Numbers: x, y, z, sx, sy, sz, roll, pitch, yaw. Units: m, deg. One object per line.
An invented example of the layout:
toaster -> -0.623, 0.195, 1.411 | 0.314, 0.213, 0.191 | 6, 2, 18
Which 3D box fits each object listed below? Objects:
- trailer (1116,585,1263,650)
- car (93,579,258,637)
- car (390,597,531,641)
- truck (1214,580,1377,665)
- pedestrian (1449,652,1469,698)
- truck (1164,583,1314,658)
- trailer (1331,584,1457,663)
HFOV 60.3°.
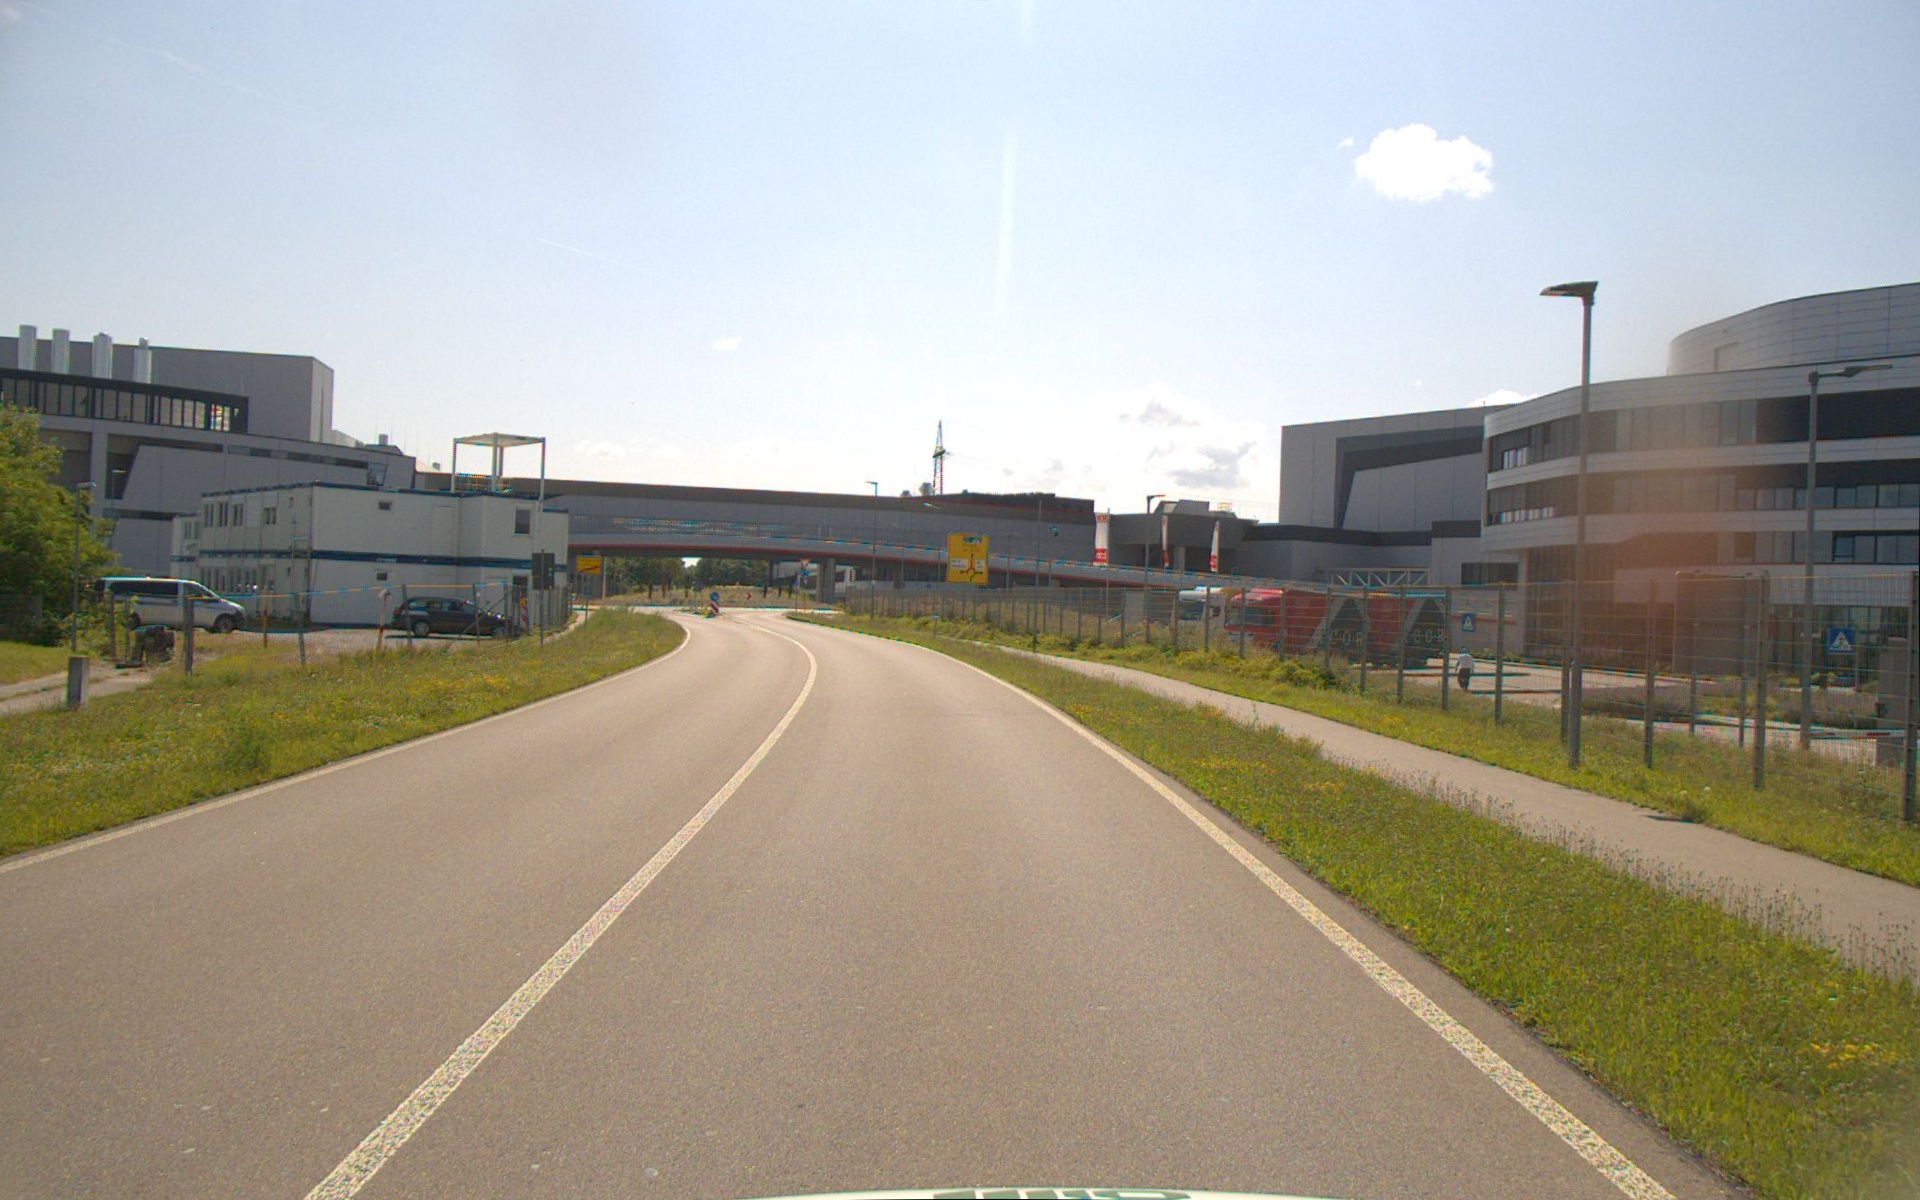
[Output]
trailer -> 16.942, 1.284, 120.962 | 13.956, 4.516, 2.721 | 1, -1, -44
car -> -28.002, 0.305, 59.128 | 4.974, 1.899, 1.971 | 3, 0, -40
car -> -18.496, 0.715, 61.229 | 4.896, 1.442, 1.988 | 2, 0, -20
truck -> 18.246, 1.201, 89.301 | 10.888, 4.331, 2.980 | 1, -1, -44
pedestrian -> 18.807, 2.813, 62.321 | 0.474, 1.682, 0.573 | 2, -1, -7
truck -> 16.697, 1.208, 98.307 | 10.885, 4.246, 2.778 | 1, -1, -43
trailer -> 25.259, 1.354, 96.051 | 8.645, 4.371, 2.981 | 1, -1, -43
